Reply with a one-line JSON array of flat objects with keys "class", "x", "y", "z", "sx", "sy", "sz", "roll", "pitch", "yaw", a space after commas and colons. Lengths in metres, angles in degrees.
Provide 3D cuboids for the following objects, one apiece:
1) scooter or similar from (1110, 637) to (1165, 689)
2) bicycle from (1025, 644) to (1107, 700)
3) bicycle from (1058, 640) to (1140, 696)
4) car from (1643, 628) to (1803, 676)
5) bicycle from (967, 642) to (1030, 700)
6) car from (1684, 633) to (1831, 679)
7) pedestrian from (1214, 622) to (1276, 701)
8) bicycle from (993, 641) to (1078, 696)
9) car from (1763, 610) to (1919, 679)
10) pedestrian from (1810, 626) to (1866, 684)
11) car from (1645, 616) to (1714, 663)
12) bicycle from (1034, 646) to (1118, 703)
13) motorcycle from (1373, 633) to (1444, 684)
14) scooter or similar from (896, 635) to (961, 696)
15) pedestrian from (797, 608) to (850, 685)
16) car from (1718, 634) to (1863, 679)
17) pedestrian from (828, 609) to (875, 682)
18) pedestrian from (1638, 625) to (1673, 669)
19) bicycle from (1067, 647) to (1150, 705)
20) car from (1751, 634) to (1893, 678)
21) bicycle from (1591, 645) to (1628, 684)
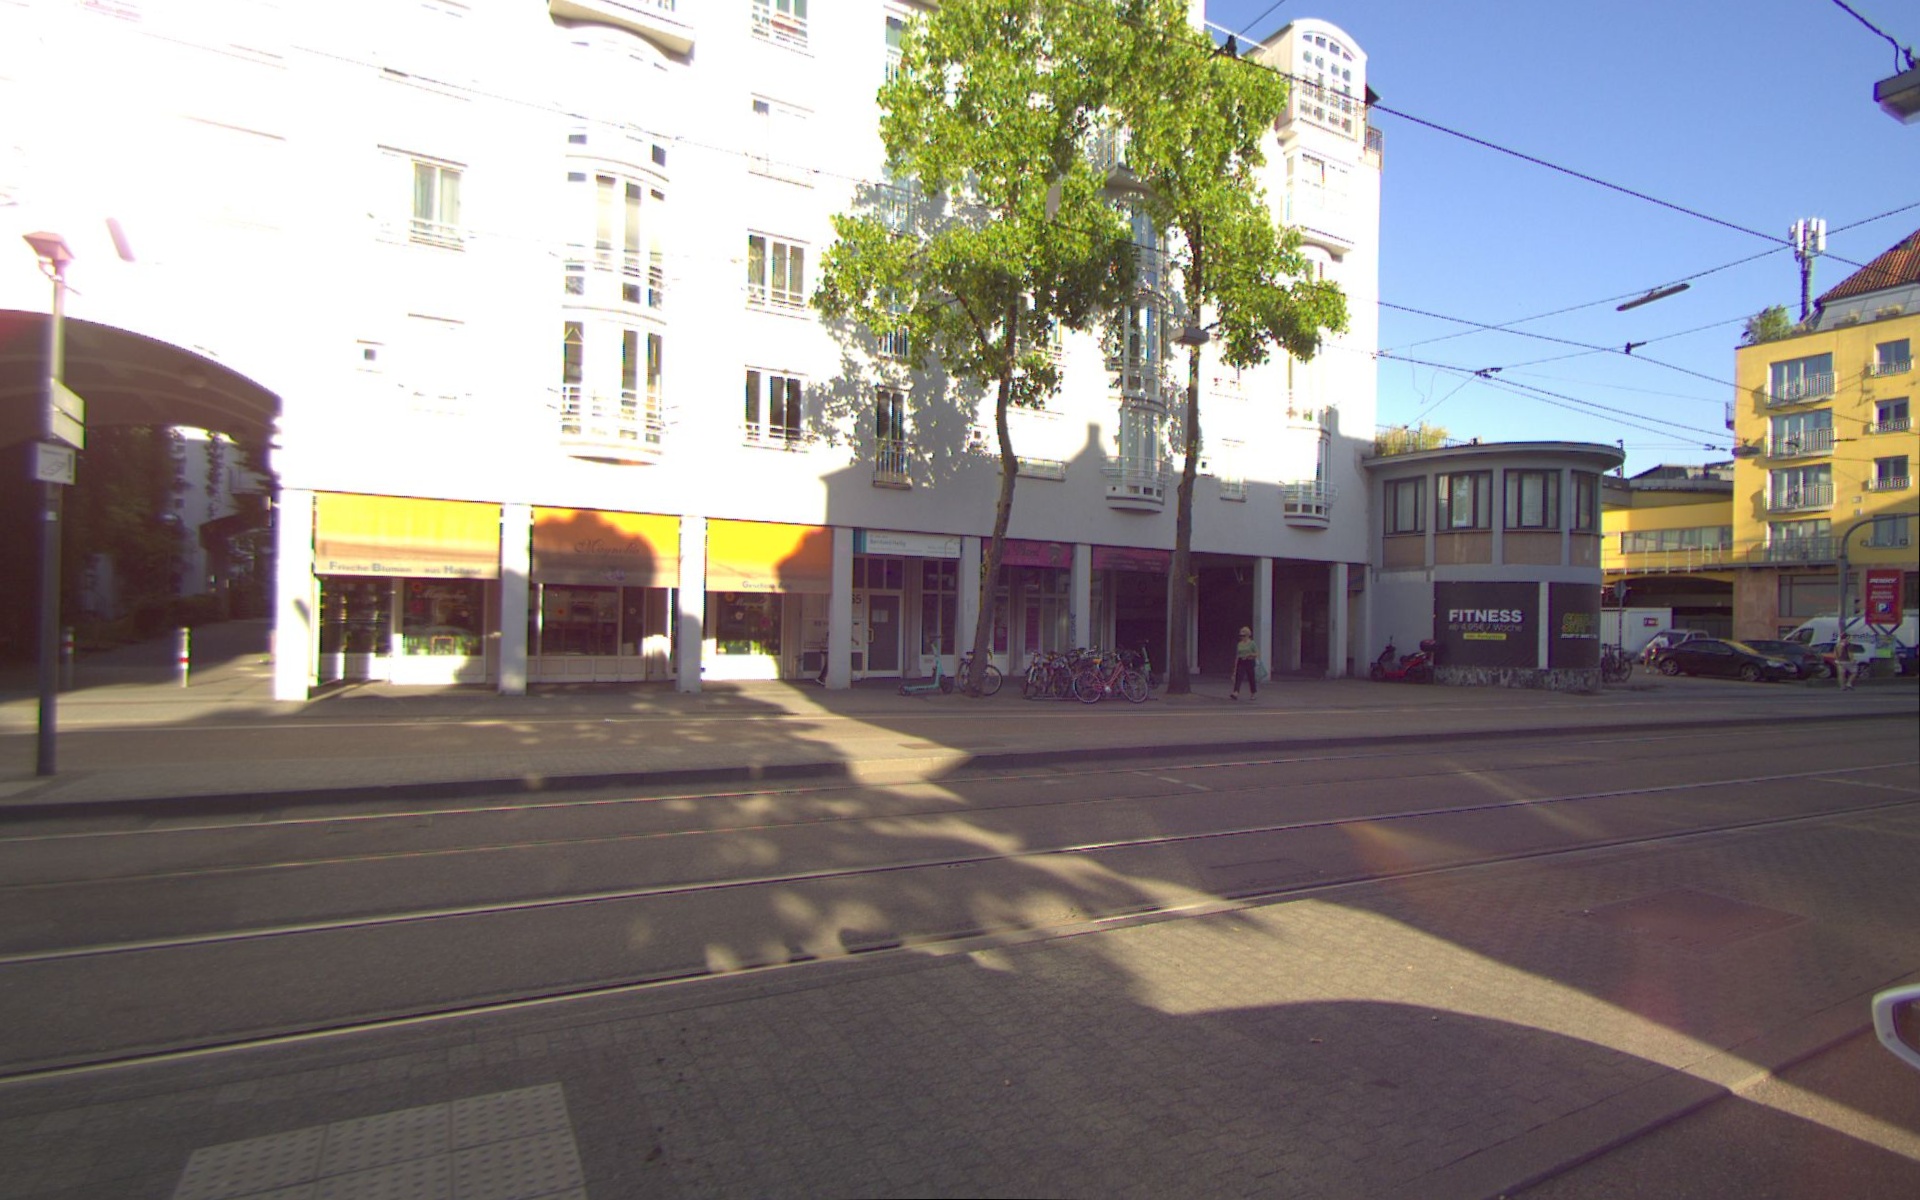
[{"class": "scooter or similar", "x": 4.239, "y": 1.498, "z": 23.927, "sx": 1.257, "sy": 1.209, "sz": 0.496, "roll": 2, "pitch": -1, "yaw": -30}, {"class": "bicycle", "x": 2.295, "y": 1.527, "z": 21.614, "sx": 1.779, "sy": 1.122, "sz": 0.496, "roll": 1, "pitch": 2, "yaw": -30}, {"class": "bicycle", "x": 3.142, "y": 1.521, "z": 22.619, "sx": 1.763, "sy": 1.122, "sz": 0.500, "roll": 2, "pitch": 2, "yaw": 11}, {"class": "car", "x": 27.635, "y": 1.859, "z": 36.519, "sx": 1.778, "sy": 1.530, "sz": 4.301, "roll": 2, "pitch": -1, "yaw": -29}, {"class": "bicycle", "x": 0.805, "y": 1.485, "z": 21.028, "sx": 1.247, "sy": 1.122, "sz": 0.500, "roll": 2, "pitch": 2, "yaw": -3}, {"class": "car", "x": 29.955, "y": 2.068, "z": 37.833, "sx": 1.778, "sy": 1.530, "sz": 3.970, "roll": 2, "pitch": -1, "yaw": -29}, {"class": "pedestrian", "x": 6.493, "y": 1.379, "z": 22.887, "sx": 1.001, "sy": 1.683, "sz": 0.917, "roll": 3, "pitch": 1, "yaw": 39}, {"class": "bicycle", "x": 1.646, "y": 1.492, "z": 21.926, "sx": 1.772, "sy": 1.122, "sz": 0.498, "roll": 1, "pitch": 2, "yaw": -18}, {"class": "car", "x": 36.651, "y": 1.783, "z": 41.445, "sx": 2.102, "sy": 2.610, "sz": 5.084, "roll": 2, "pitch": -1, "yaw": -29}, {"class": "pedestrian", "x": 28.540, "y": 1.792, "z": 32.674, "sx": 1.134, "sy": 1.839, "sz": 0.907, "roll": 1, "pitch": 0, "yaw": -18}, {"class": "car", "x": 35.421, "y": 1.930, "z": 49.422, "sx": 3.966, "sy": 2.237, "sz": 1.780, "roll": 2, "pitch": -1, "yaw": -39}, {"class": "bicycle", "x": 2.450, "y": 1.540, "z": 21.104, "sx": 1.779, "sy": 1.122, "sz": 0.496, "roll": 1, "pitch": 2, "yaw": -30}, {"class": "motorcycle", "x": 12.981, "y": 1.681, "z": 29.116, "sx": 0.600, "sy": 1.315, "sz": 1.782, "roll": 1, "pitch": 2, "yaw": -35}, {"class": "scooter or similar", "x": -0.657, "y": 1.367, "z": 21.106, "sx": 1.252, "sy": 1.209, "sz": 0.498, "roll": 1, "pitch": 2, "yaw": -19}, {"class": "pedestrian", "x": -3.127, "y": 1.056, "z": 22.963, "sx": 0.870, "sy": 1.683, "sz": 0.853, "roll": 2, "pitch": 1, "yaw": -32}, {"class": "car", "x": 32.199, "y": 2.143, "z": 39.042, "sx": 1.778, "sy": 1.530, "sz": 3.970, "roll": 2, "pitch": -1, "yaw": -29}, {"class": "pedestrian", "x": -2.623, "y": 1.081, "z": 24.284, "sx": 0.786, "sy": 1.683, "sz": 0.853, "roll": 2, "pitch": 1, "yaw": -32}, {"class": "pedestrian", "x": 26.873, "y": 1.805, "z": 38.823, "sx": 0.873, "sy": 1.674, "sz": 0.764, "roll": 1, "pitch": 0, "yaw": 18}, {"class": "bicycle", "x": 3.119, "y": 1.574, "z": 21.033, "sx": 1.779, "sy": 1.122, "sz": 0.496, "roll": 1, "pitch": 2, "yaw": -30}, {"class": "car", "x": 34.415, "y": 2.215, "z": 40.201, "sx": 1.778, "sy": 1.530, "sz": 3.970, "roll": 2, "pitch": -1, "yaw": -29}, {"class": "bicycle", "x": 19.468, "y": 1.918, "z": 30.098, "sx": 1.787, "sy": 1.122, "sz": 0.494, "roll": 2, "pitch": -1, "yaw": -43}]
